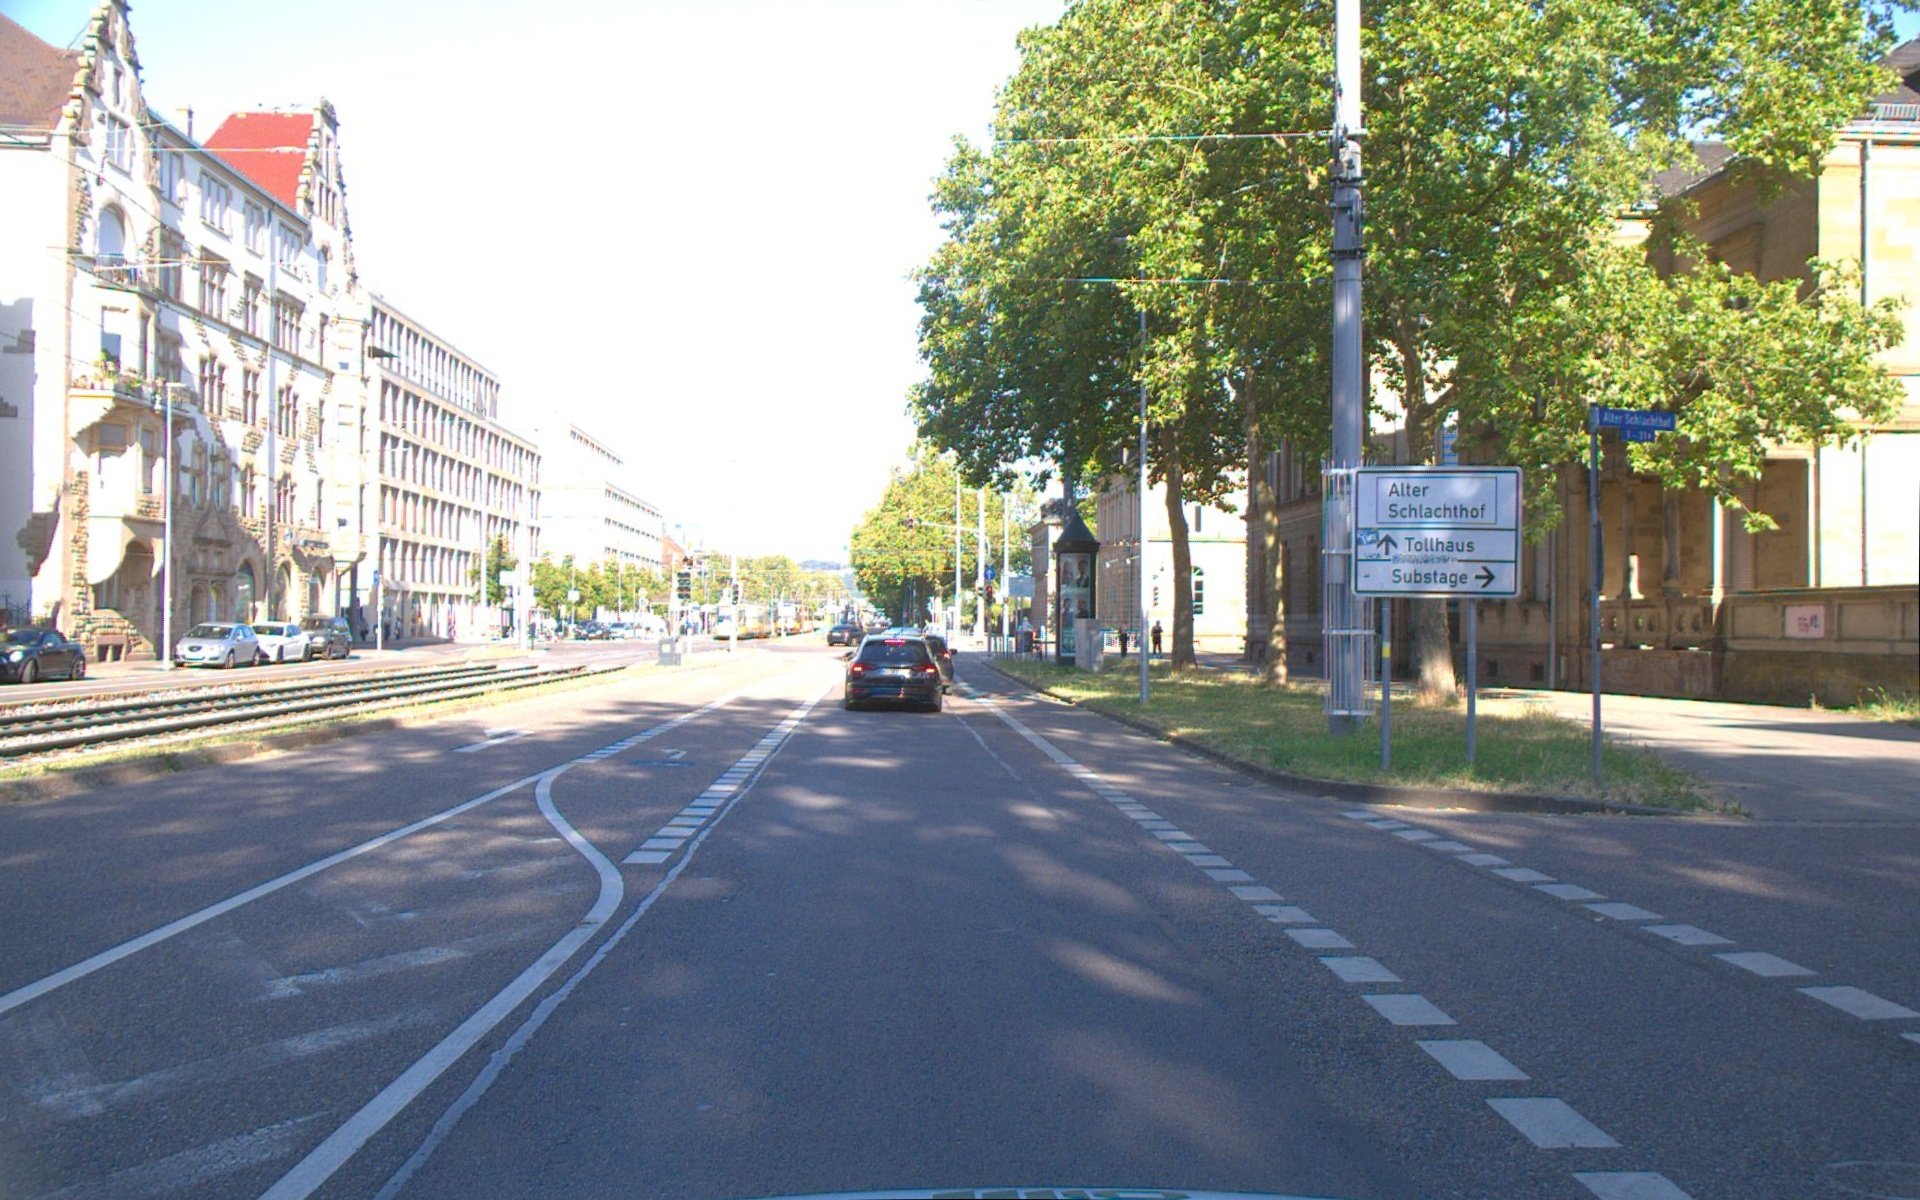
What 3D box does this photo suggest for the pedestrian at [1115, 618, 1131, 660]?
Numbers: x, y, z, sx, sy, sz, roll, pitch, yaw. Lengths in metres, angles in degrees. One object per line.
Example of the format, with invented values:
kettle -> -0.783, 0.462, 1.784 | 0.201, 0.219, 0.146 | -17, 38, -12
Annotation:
pedestrian -> 6.993, 1.657, 70.790 | 0.575, 1.759, 0.650 | 2, -1, 10

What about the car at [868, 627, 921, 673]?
car -> -2.250, 1.707, 57.160 | 1.758, 1.537, 3.998 | 0, -1, -2

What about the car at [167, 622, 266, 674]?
car -> -24.385, 1.536, 54.394 | 1.760, 1.536, 3.993 | 3, -1, -7

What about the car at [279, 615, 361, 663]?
car -> -25.263, 1.520, 65.413 | 1.759, 1.749, 4.181 | 3, -1, -4

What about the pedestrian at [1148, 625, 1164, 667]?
pedestrian -> 8.371, 1.973, 70.704 | 0.575, 1.759, 0.650 | 2, -1, 12

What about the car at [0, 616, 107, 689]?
car -> -23.639, 1.292, 42.169 | 1.653, 1.681, 4.196 | 3, -1, -3

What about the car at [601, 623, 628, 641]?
car -> -28.926, 2.657, 138.429 | 1.759, 1.537, 3.995 | 0, -1, -5

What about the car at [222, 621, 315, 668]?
car -> -24.928, 1.581, 59.741 | 1.759, 1.536, 4.181 | 3, -1, -4

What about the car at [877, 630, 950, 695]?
car -> -1.204, 1.542, 41.947 | 1.758, 1.537, 3.998 | 0, -1, -2

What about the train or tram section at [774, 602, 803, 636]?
train or tram section -> -18.016, 2.014, 174.006 | 2.770, 3.511, 9.055 | 0, -1, -4

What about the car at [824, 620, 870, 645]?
car -> -7.525, 2.199, 110.525 | 1.756, 1.537, 4.002 | 1, -2, 16

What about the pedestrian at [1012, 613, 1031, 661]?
pedestrian -> 2.304, 1.363, 61.739 | 0.575, 1.759, 0.650 | 2, -1, 10

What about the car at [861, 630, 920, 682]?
car -> -2.159, 1.693, 51.385 | 1.758, 1.537, 3.998 | 0, -1, -2

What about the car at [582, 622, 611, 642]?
car -> -28.839, 2.531, 131.313 | 1.759, 1.537, 3.995 | 0, -1, -5

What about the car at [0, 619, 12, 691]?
car -> -23.262, 1.234, 37.100 | 1.653, 1.681, 4.196 | 3, -1, -3

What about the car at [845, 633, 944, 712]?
car -> -1.316, 1.384, 32.514 | 1.797, 1.415, 4.156 | 1, -1, -3

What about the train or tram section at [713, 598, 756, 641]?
train or tram section -> -19.327, 1.689, 142.257 | 2.769, 3.511, 9.058 | 0, -1, -2
